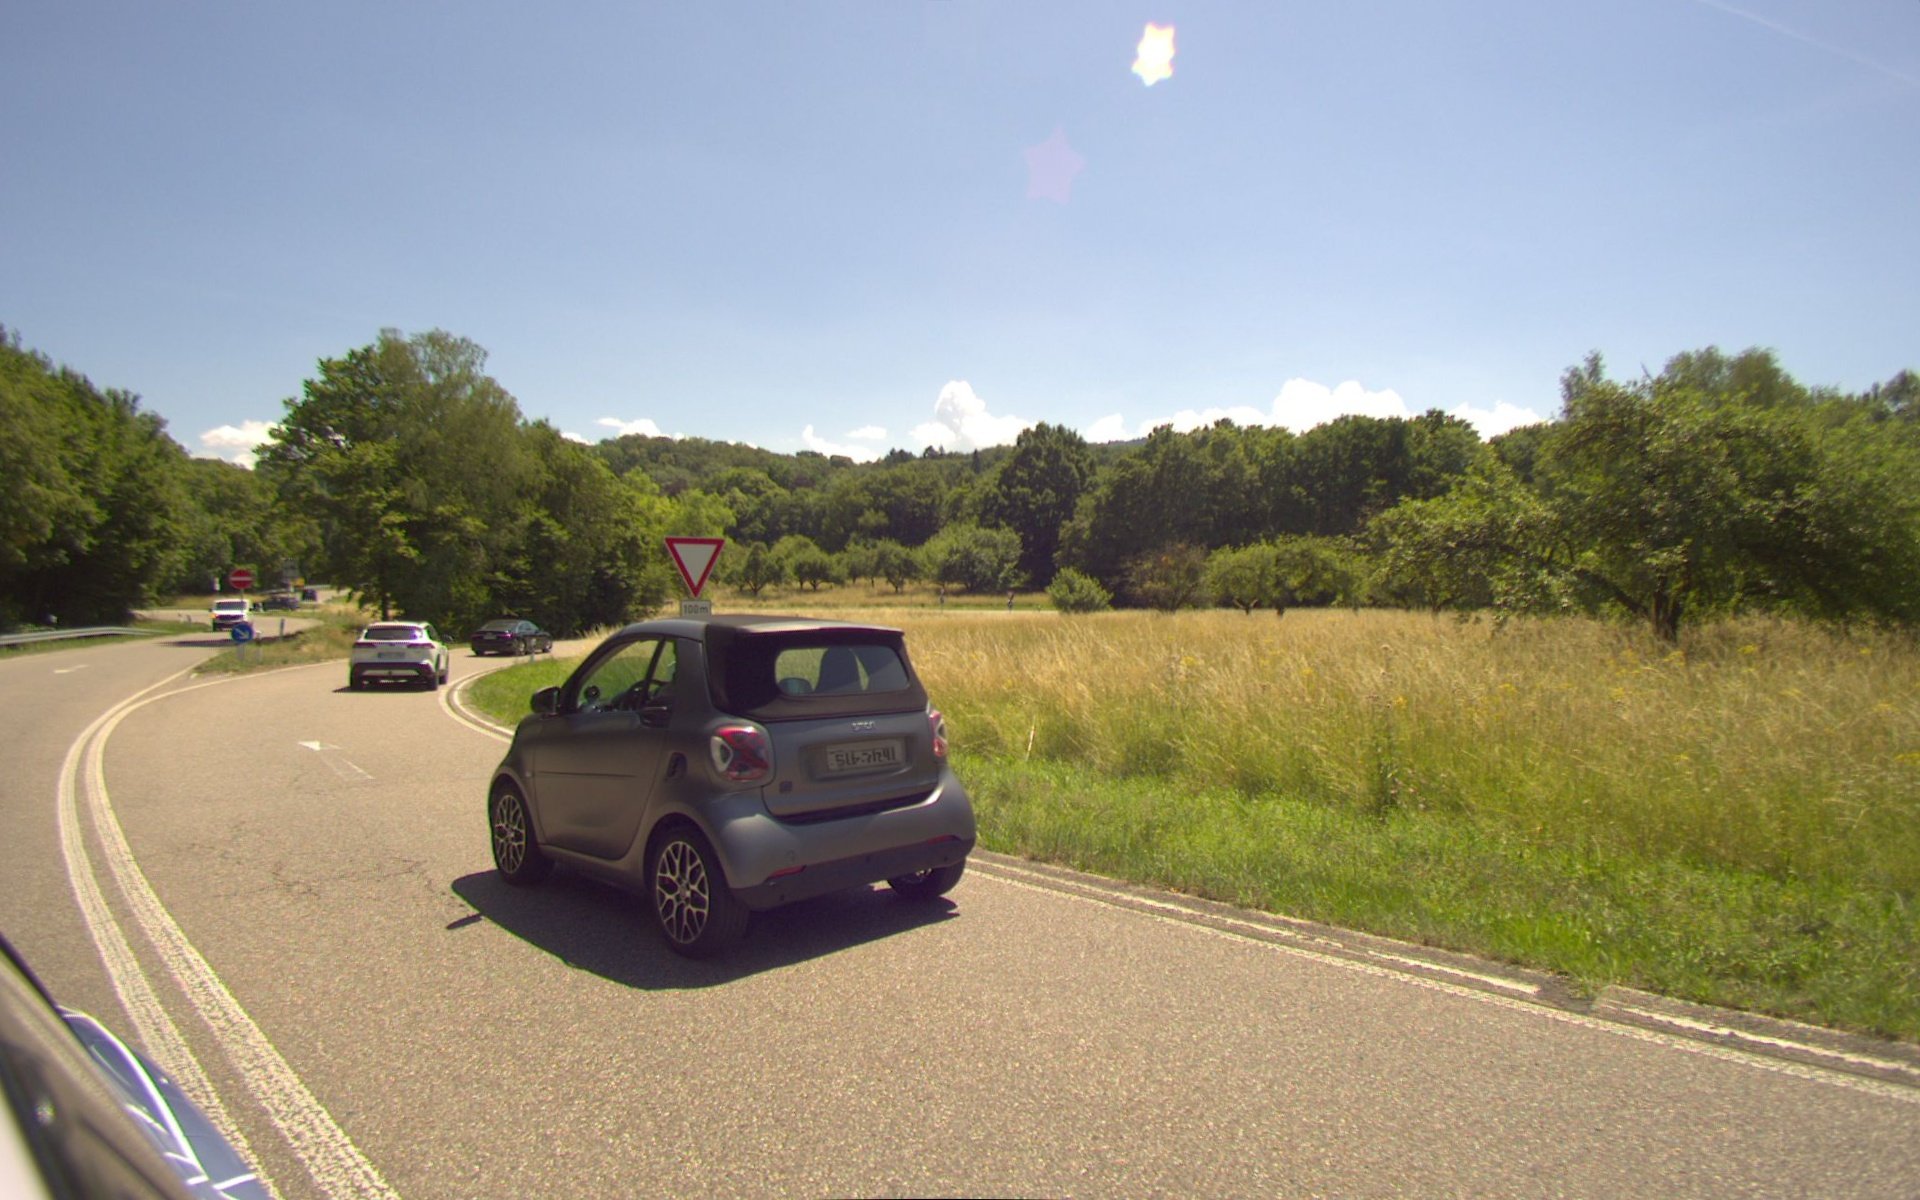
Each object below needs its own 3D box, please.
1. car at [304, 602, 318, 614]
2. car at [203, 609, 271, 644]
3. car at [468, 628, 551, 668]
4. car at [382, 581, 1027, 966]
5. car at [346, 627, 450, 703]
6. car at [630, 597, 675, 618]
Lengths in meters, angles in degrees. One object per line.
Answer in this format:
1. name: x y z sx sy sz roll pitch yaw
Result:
1. car: -82.625 0.993 128.876 1.446 1.337 2.971 0 2 -30
2. car: -46.413 1.680 65.123 2.187 2.048 5.444 -2 0 -20
3. car: -18.703 1.974 42.259 1.780 1.518 4.664 2 -2 -6
4. car: -1.749 0.724 6.015 4.071 1.518 1.716 -2 0 42
5. car: -13.464 1.512 24.451 1.796 1.602 4.231 4 -3 -25
6. car: -31.682 0.795 104.325 3.945 2.028 2.000 1 2 1
